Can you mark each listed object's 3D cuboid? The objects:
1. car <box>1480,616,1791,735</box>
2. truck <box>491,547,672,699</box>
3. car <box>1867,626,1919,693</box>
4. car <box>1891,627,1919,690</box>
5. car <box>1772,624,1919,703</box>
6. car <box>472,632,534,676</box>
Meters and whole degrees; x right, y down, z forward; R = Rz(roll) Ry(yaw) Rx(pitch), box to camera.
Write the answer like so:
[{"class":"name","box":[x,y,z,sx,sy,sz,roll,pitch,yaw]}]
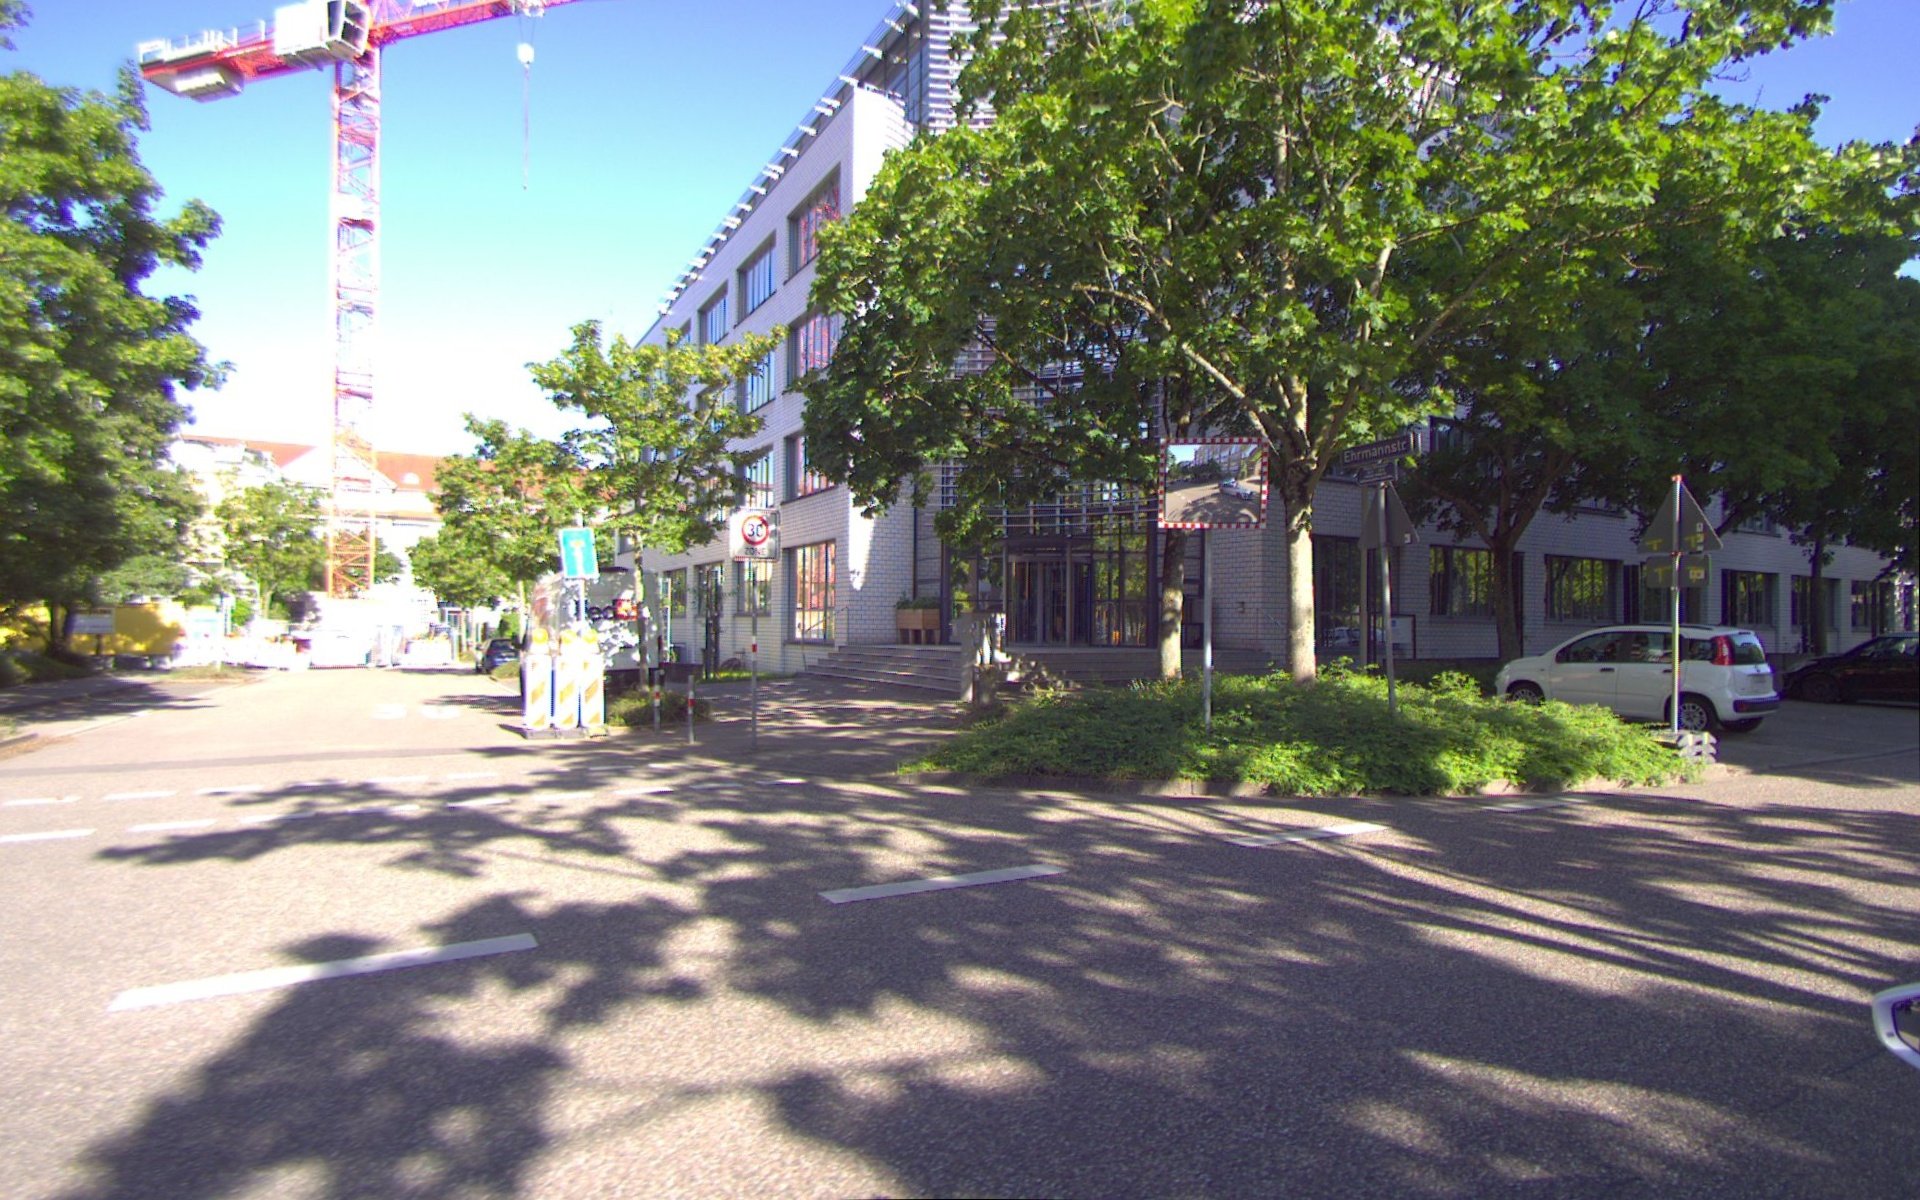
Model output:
[{"class":"car","box":[10.060,1.077,15.203,1.620,1.569,3.561,5,-3,-32]},{"class":"truck","box":[-8.243,0.520,21.425,2.549,2.740,6.073,1,-2,-31]},{"class":"car","box":[22.466,1.365,21.842,1.612,1.464,3.745,2,0,-29]},{"class":"car","box":[24.584,1.431,23.463,1.735,1.476,3.845,0,0,-32]},{"class":"car","box":[18.497,1.226,19.669,1.657,1.483,3.715,2,-2,-30]},{"class":"car","box":[-18.507,2.139,40.589,1.985,1.700,3.970,2,-2,-29]}]
